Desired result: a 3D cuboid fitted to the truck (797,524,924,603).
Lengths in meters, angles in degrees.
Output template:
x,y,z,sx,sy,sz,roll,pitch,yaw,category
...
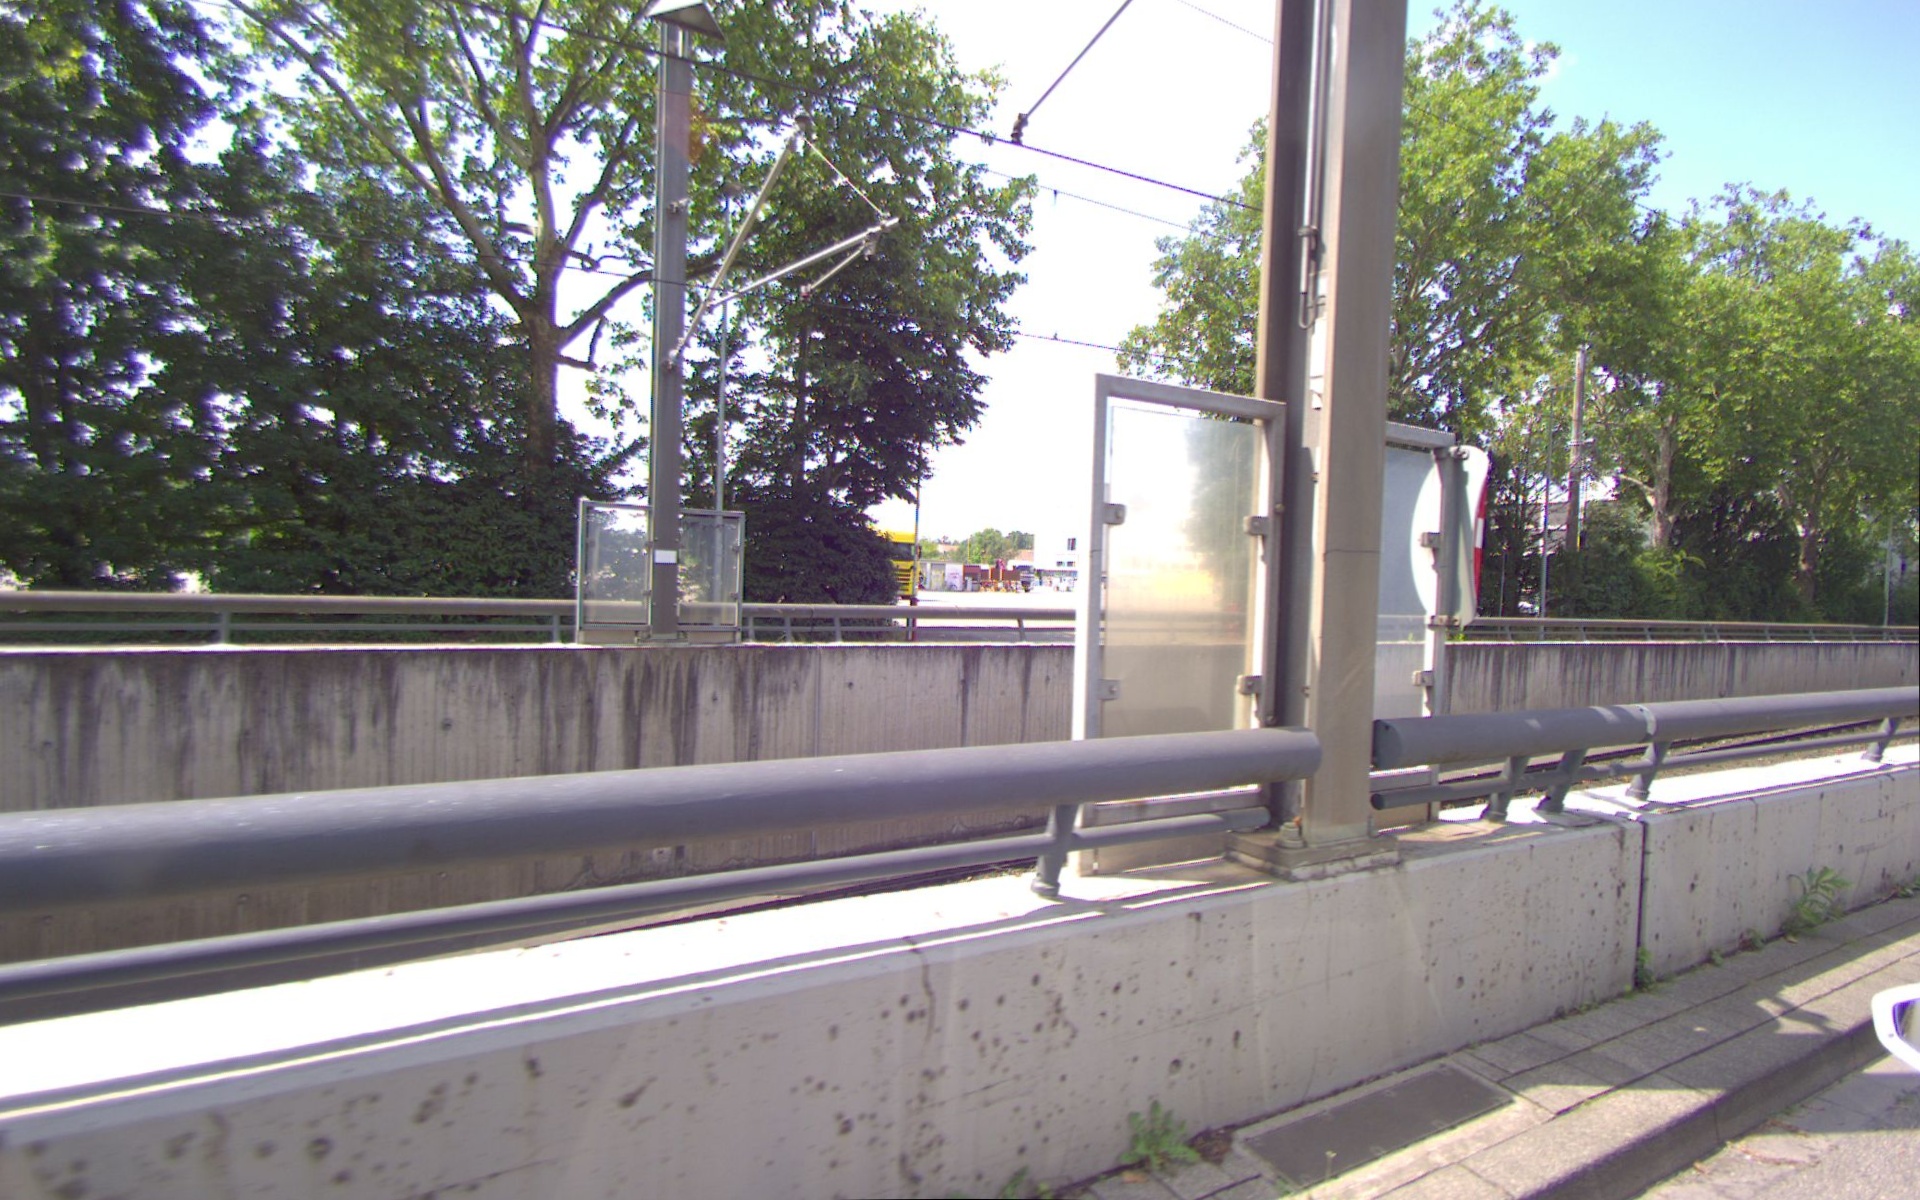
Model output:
x,y,z,sx,sy,sz,roll,pitch,yaw,category
-6.173,-1.991,59.275,2.714,4.128,12.734,2,0,-28,truck
